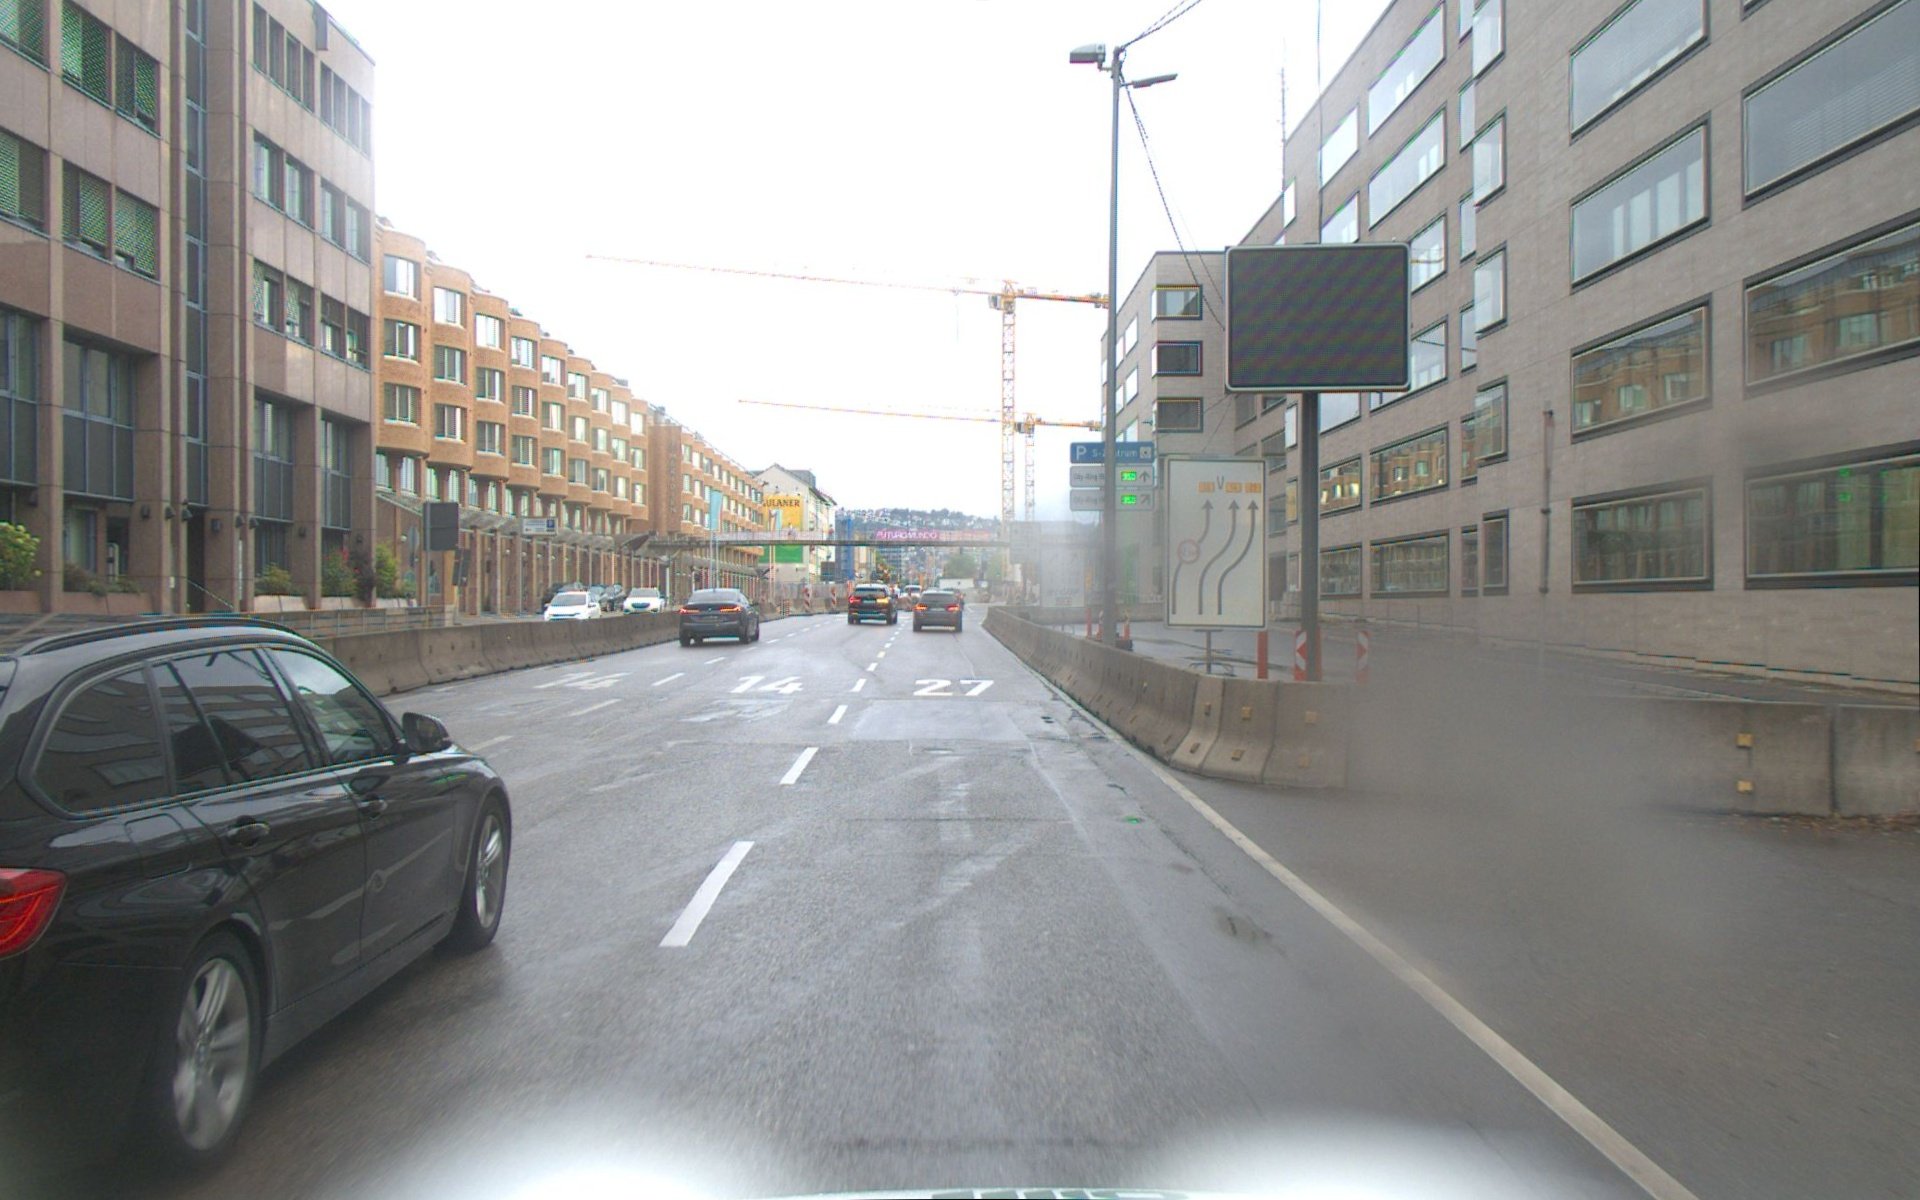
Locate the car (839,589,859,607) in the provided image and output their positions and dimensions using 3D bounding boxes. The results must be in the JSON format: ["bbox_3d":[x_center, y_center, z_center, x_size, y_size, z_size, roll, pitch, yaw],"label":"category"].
[{"bbox_3d":[-12.654,-0.205,188.421,1.952,2.049,4.000,-1,0,0],"label":"car"}]

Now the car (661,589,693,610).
[{"bbox_3d":[-23.968,-0.048,140.167,1.953,1.648,4.689,-1,0,-1],"label":"car"}]

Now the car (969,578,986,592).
[{"bbox_3d":[2.167,-1.822,204.172,1.860,1.723,4.001,-1,0,2],"label":"car"}]

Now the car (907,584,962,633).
[{"bbox_3d":[-0.918,0.308,60.797,1.861,1.723,4.000,-1,0,1],"label":"car"}]

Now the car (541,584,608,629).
[{"bbox_3d":[-13.820,0.194,59.461,1.570,1.467,3.657,-1,2,-1],"label":"car"}]

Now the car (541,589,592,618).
[{"bbox_3d":[-23.609,0.203,99.341,1.953,1.648,4.762,-1,0,-1],"label":"car"}]

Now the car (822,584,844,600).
[{"bbox_3d":[-13.172,-0.850,171.480,1.953,1.648,4.762,-1,0,-1],"label":"car"}]

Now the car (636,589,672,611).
[{"bbox_3d":[-23.755,-0.024,128.460,1.953,1.648,4.689,-1,0,-1],"label":"car"}]

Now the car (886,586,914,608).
[{"bbox_3d":[-4.688,-0.243,129.812,1.953,1.648,4.763,-1,0,0],"label":"car"}]

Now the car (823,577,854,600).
[{"bbox_3d":[-9.072,-0.861,123.886,1.953,1.648,4.762,-1,0,0],"label":"car"}]

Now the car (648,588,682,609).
[{"bbox_3d":[-23.911,-0.126,134.325,1.953,1.648,4.689,-1,0,-1],"label":"car"}]

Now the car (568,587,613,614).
[{"bbox_3d":[-23.711,0.028,106.362,1.953,1.648,4.317,-1,0,-1],"label":"car"}]

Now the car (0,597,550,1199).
[{"bbox_3d":[-2.734,0.720,5.360,1.755,1.451,4.612,0,0,-1],"label":"car"}]

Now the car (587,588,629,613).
[{"bbox_3d":[-23.656,0.015,111.234,1.953,1.648,4.317,-1,0,-1],"label":"car"}]

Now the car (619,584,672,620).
[{"bbox_3d":[-15.560,0.073,82.022,1.783,1.647,4.191,-1,2,0],"label":"car"}]

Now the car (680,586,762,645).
[{"bbox_3d":[-6.275,0.380,43.764,1.755,1.451,4.381,-1,0,-3],"label":"car"}]

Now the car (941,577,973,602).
[{"bbox_3d":[-0.189,-0.756,121.177,1.859,1.723,4.003,-1,0,7],"label":"car"}]

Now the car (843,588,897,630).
[{"bbox_3d":[-3.780,0.360,70.001,1.860,1.723,4.001,-1,0,2],"label":"car"}]
